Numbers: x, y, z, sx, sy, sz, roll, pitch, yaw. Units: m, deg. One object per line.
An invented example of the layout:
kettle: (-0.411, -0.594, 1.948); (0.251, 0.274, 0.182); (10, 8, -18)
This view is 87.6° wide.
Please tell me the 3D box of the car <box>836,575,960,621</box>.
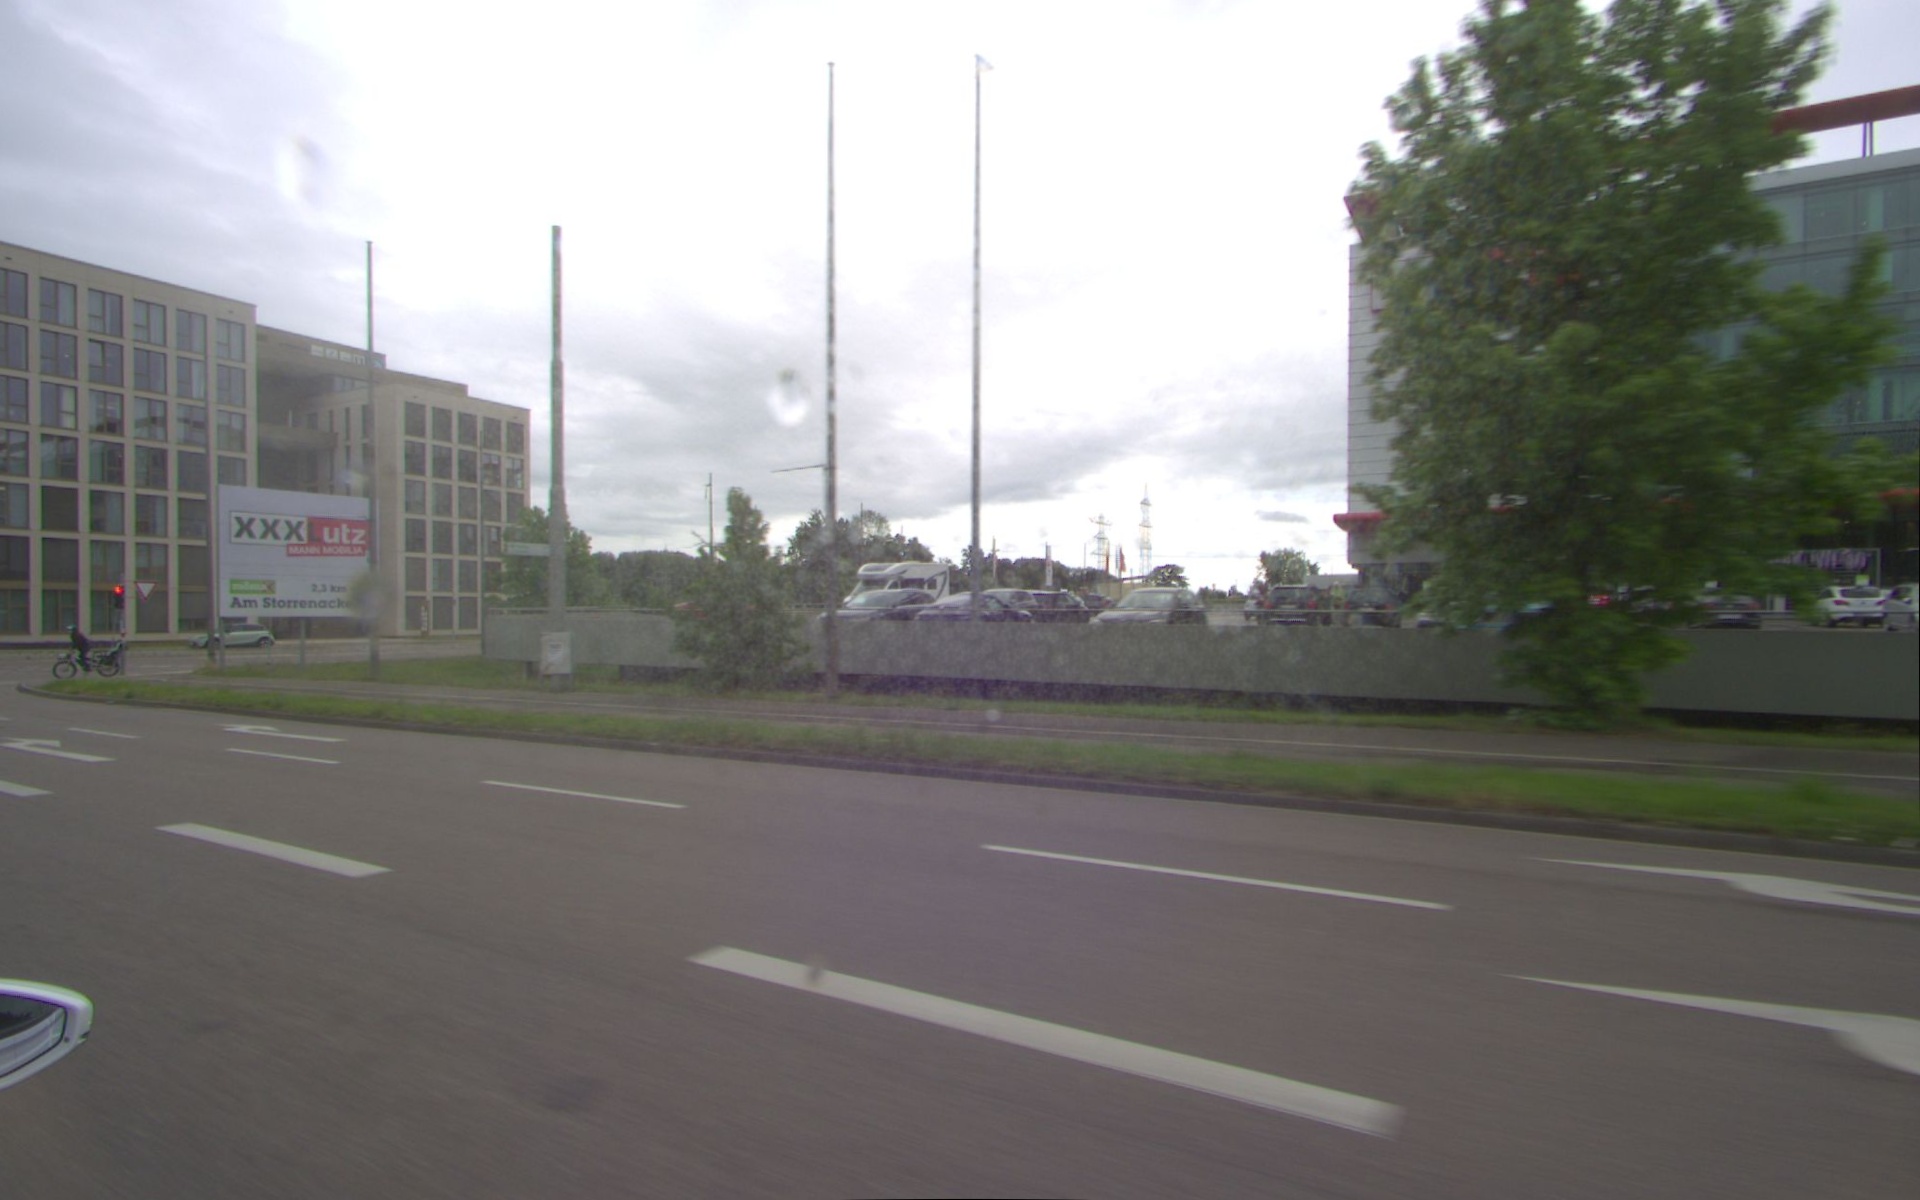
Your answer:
car: (-1.668, -0.025, 28.081); (1.694, 1.192, 3.689); (1, -1, 30)

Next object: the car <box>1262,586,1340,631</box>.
car: (12.395, 0.302, 36.275); (1.759, 1.528, 3.834); (1, 0, 34)

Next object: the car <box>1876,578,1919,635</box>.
car: (27.215, 0.221, 27.661); (1.819, 1.539, 4.226); (2, 0, 29)

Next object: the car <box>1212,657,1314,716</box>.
car: (8.331, 2.290, 27.290); (1.738, 1.367, 4.049); (-1, -2, 31)

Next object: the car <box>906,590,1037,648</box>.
car: (0.379, 0.486, 26.017); (1.694, 1.369, 3.919); (1, 0, 30)

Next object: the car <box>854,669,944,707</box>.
car: (-2.430, 3.524, 40.423); (1.443, 1.303, 3.599); (2, 0, 45)

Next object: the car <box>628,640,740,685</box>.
car: (-13.401, 2.964, 48.610); (5.033, 2.039, 2.453); (-1, -2, 31)

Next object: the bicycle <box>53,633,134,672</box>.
bicycle: (-29.679, 1.802, 34.332); (1.975, 1.312, 0.701); (1, -1, -17)

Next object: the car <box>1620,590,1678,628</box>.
car: (29.900, 0.419, 43.563); (1.675, 1.552, 3.629); (2, 0, 29)

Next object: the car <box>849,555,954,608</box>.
car: (-2.607, -0.801, 45.865); (2.135, 2.240, 4.999); (2, 0, 35)

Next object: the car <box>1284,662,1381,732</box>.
car: (11.494, 2.902, 30.726); (1.972, 1.855, 4.360); (-1, -2, 32)

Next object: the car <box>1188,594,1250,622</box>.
car: (18.596, 0.568, 71.994); (3.937, 1.884, 1.897); (2, 0, 28)

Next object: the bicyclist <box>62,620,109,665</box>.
bicyclist: (-29.892, 1.462, 34.256); (0.982, 1.523, 0.701); (1, -1, -17)

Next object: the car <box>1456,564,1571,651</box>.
car: (10.958, 0.164, 19.874); (1.784, 1.544, 4.064); (1, -1, 29)

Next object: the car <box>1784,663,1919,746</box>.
car: (15.140, 1.681, 16.720); (1.582, 1.146, 3.510); (-1, -2, 30)

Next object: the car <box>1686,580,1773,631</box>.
car: (22.534, 0.176, 29.447); (1.676, 1.374, 3.625); (2, 0, 33)

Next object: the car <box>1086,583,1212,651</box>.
car: (4.417, 0.397, 22.998); (1.694, 1.402, 3.869); (1, 0, 29)

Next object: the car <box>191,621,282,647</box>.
car: (-43.993, 2.055, 60.979); (1.669, 1.510, 4.187); (2, 0, 31)

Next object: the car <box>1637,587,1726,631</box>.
car: (28.110, 0.319, 39.148); (1.775, 1.601, 3.813); (1, 0, 20)

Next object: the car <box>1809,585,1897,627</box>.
car: (32.120, 0.251, 36.111); (1.676, 1.412, 3.680); (2, 0, 31)

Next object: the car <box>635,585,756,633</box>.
car: (-10.262, 0.327, 38.870); (4.187, 1.701, 1.837); (2, 0, 18)

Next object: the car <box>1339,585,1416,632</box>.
car: (14.690, 0.295, 35.119); (1.759, 1.528, 3.834); (1, 0, 34)

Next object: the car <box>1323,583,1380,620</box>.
car: (17.637, 0.091, 45.016); (1.579, 1.576, 3.623); (2, 0, 35)

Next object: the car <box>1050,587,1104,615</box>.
car: (7.222, 0.115, 61.695); (1.839, 1.598, 3.981); (-1, -2, 31)

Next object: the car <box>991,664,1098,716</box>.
car: (2.674, 2.707, 30.816); (1.738, 1.367, 4.050); (-1, -2, 30)

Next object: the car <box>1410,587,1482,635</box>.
car: (16.500, 0.379, 33.912); (1.758, 1.528, 3.835); (1, 0, 33)

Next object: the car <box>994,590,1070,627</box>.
car: (2.850, 0.351, 38.880); (1.722, 1.333, 4.111); (2, 0, 22)
